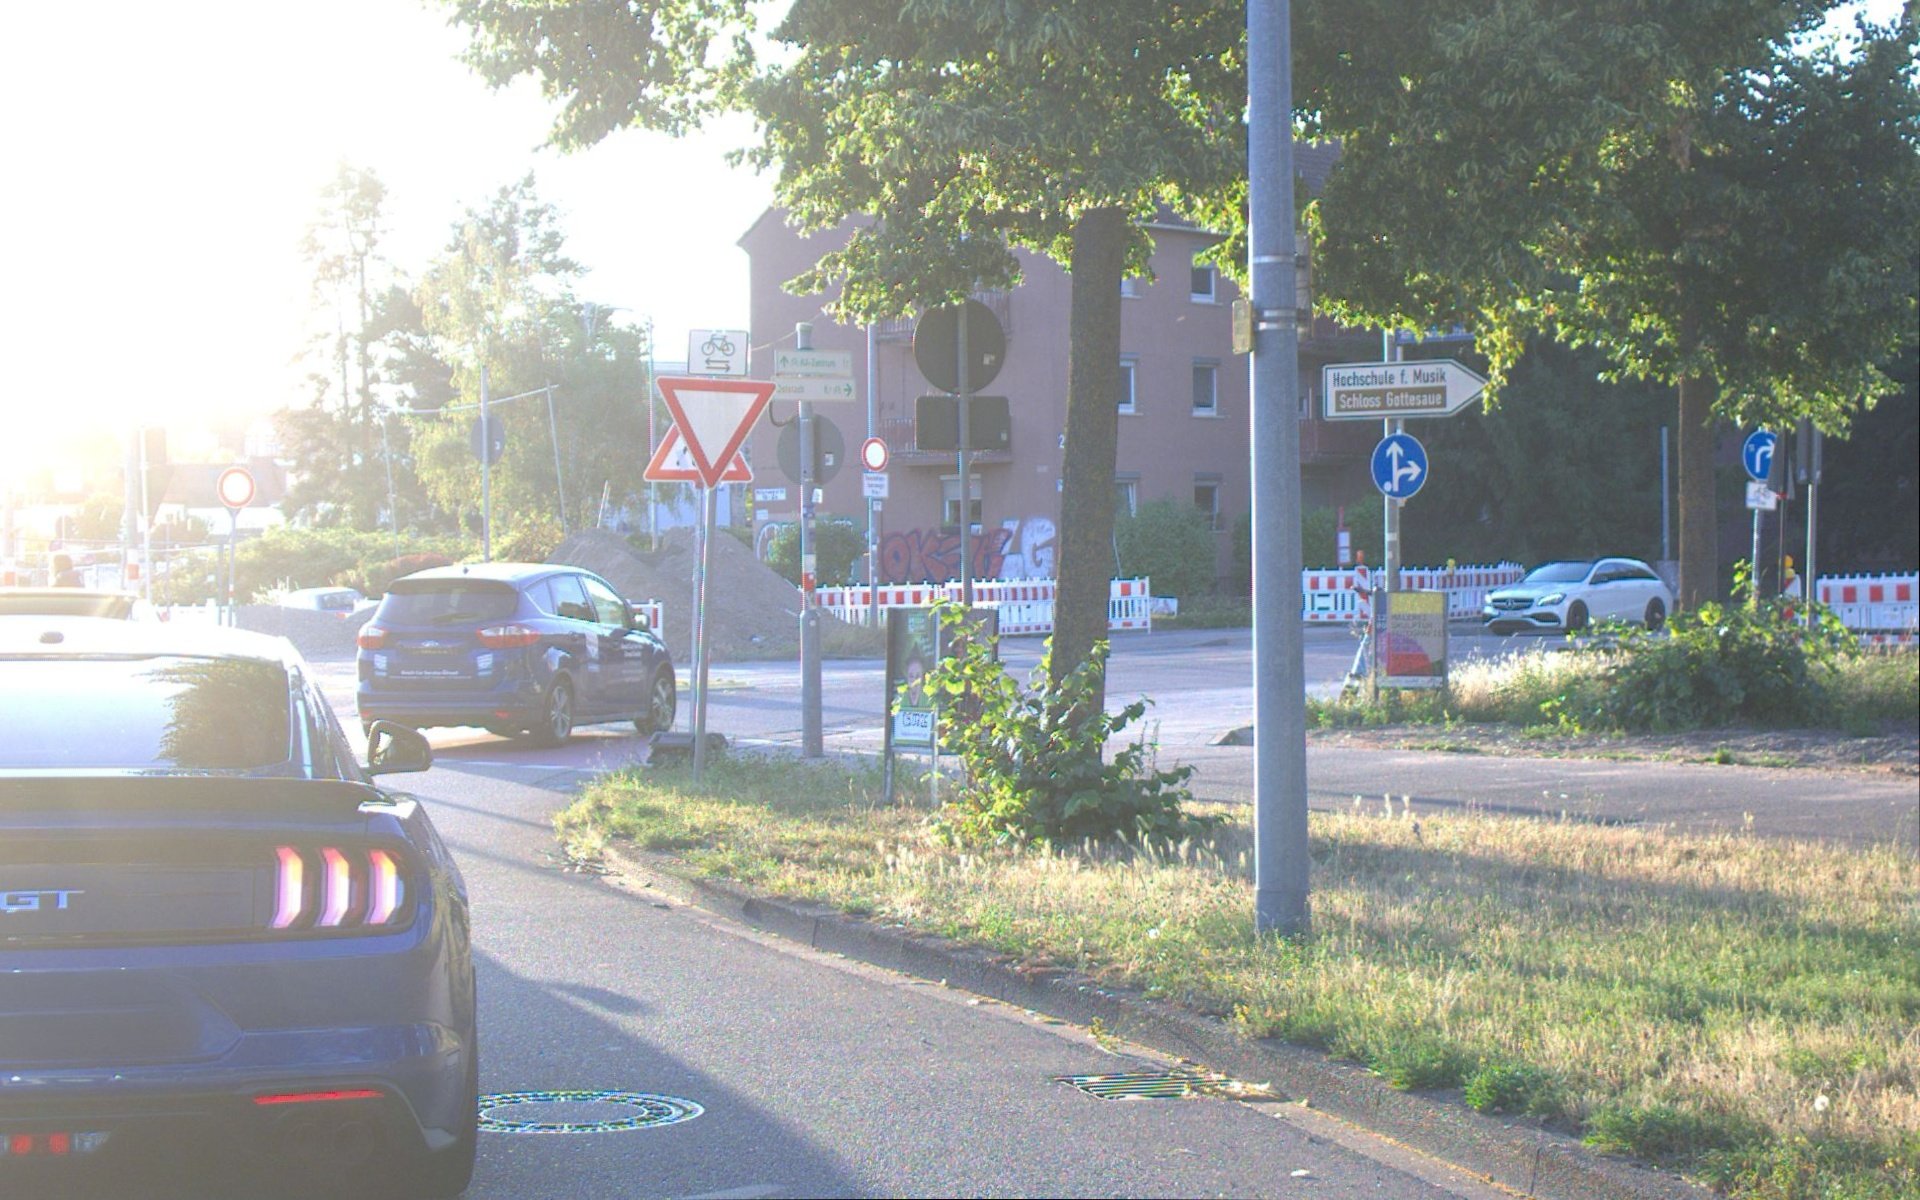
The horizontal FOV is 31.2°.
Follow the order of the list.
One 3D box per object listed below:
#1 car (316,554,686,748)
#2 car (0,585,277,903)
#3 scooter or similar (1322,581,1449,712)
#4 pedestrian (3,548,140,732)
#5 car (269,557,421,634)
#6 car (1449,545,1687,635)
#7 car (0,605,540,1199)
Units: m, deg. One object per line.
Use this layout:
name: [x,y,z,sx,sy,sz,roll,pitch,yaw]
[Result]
car: [-4.052,0.401,31.079,1.952,1.597,4.075,1,1,14]
car: [-4.705,0.657,17.613,1.950,1.422,4.431,2,-1,-16]
scooter or similar: [4.075,0.439,32.920,1.120,1.234,0.442,-1,1,-12]
pedestrian: [-8.271,0.358,32.011,0.886,1.680,0.845,0,1,32]
car: [-14.146,-0.114,78.932,1.994,1.700,4.000,-1,1,-34]
car: [11.484,-0.221,64.771,4.644,1.448,2.074,-2,5,-45]
car: [-2.449,0.710,8.983,1.950,1.337,4.672,0,1,-16]
